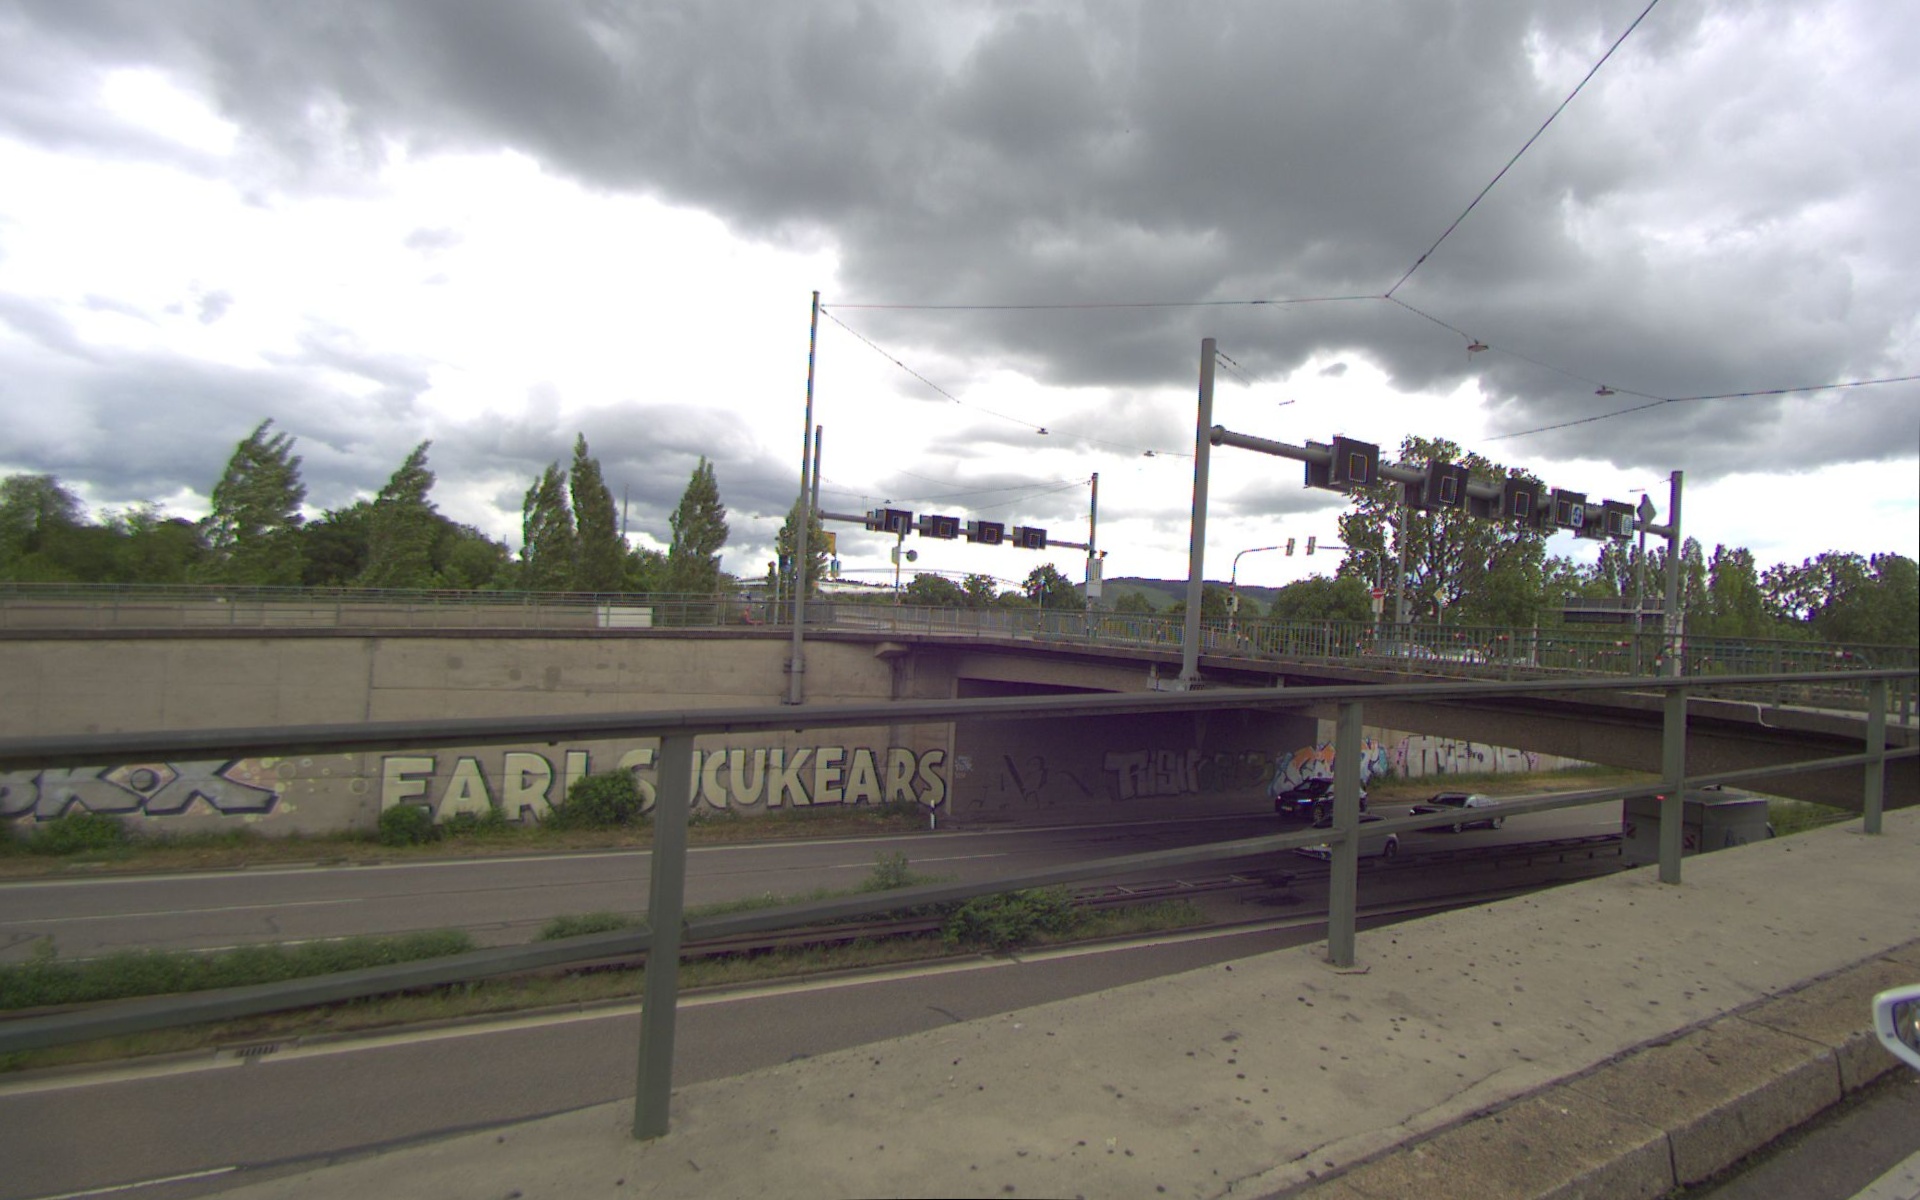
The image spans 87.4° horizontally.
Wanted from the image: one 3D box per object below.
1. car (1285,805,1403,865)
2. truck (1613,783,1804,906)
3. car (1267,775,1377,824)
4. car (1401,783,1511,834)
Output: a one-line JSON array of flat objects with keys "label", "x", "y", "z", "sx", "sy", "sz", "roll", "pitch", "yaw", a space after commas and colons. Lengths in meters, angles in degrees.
[{"label": "car", "x": 13.025, "y": 7.917, "z": 34.005, "sx": 3.855, "sy": 1.513, "sz": 1.765, "roll": 4, "pitch": -4, "yaw": -31}, {"label": "truck", "x": 23.849, "y": 7.582, "z": 31.875, "sx": 7.148, "sy": 3.048, "sz": 2.222, "roll": 4, "pitch": -2, "yaw": -30}, {"label": "car", "x": 15.471, "y": 8.460, "z": 42.835, "sx": 4.526, "sy": 1.647, "sz": 1.984, "roll": 4, "pitch": -4, "yaw": -30}, {"label": "car", "x": 20.788, "y": 8.694, "z": 42.060, "sx": 4.526, "sy": 1.647, "sz": 1.984, "roll": 4, "pitch": -4, "yaw": -30}]
